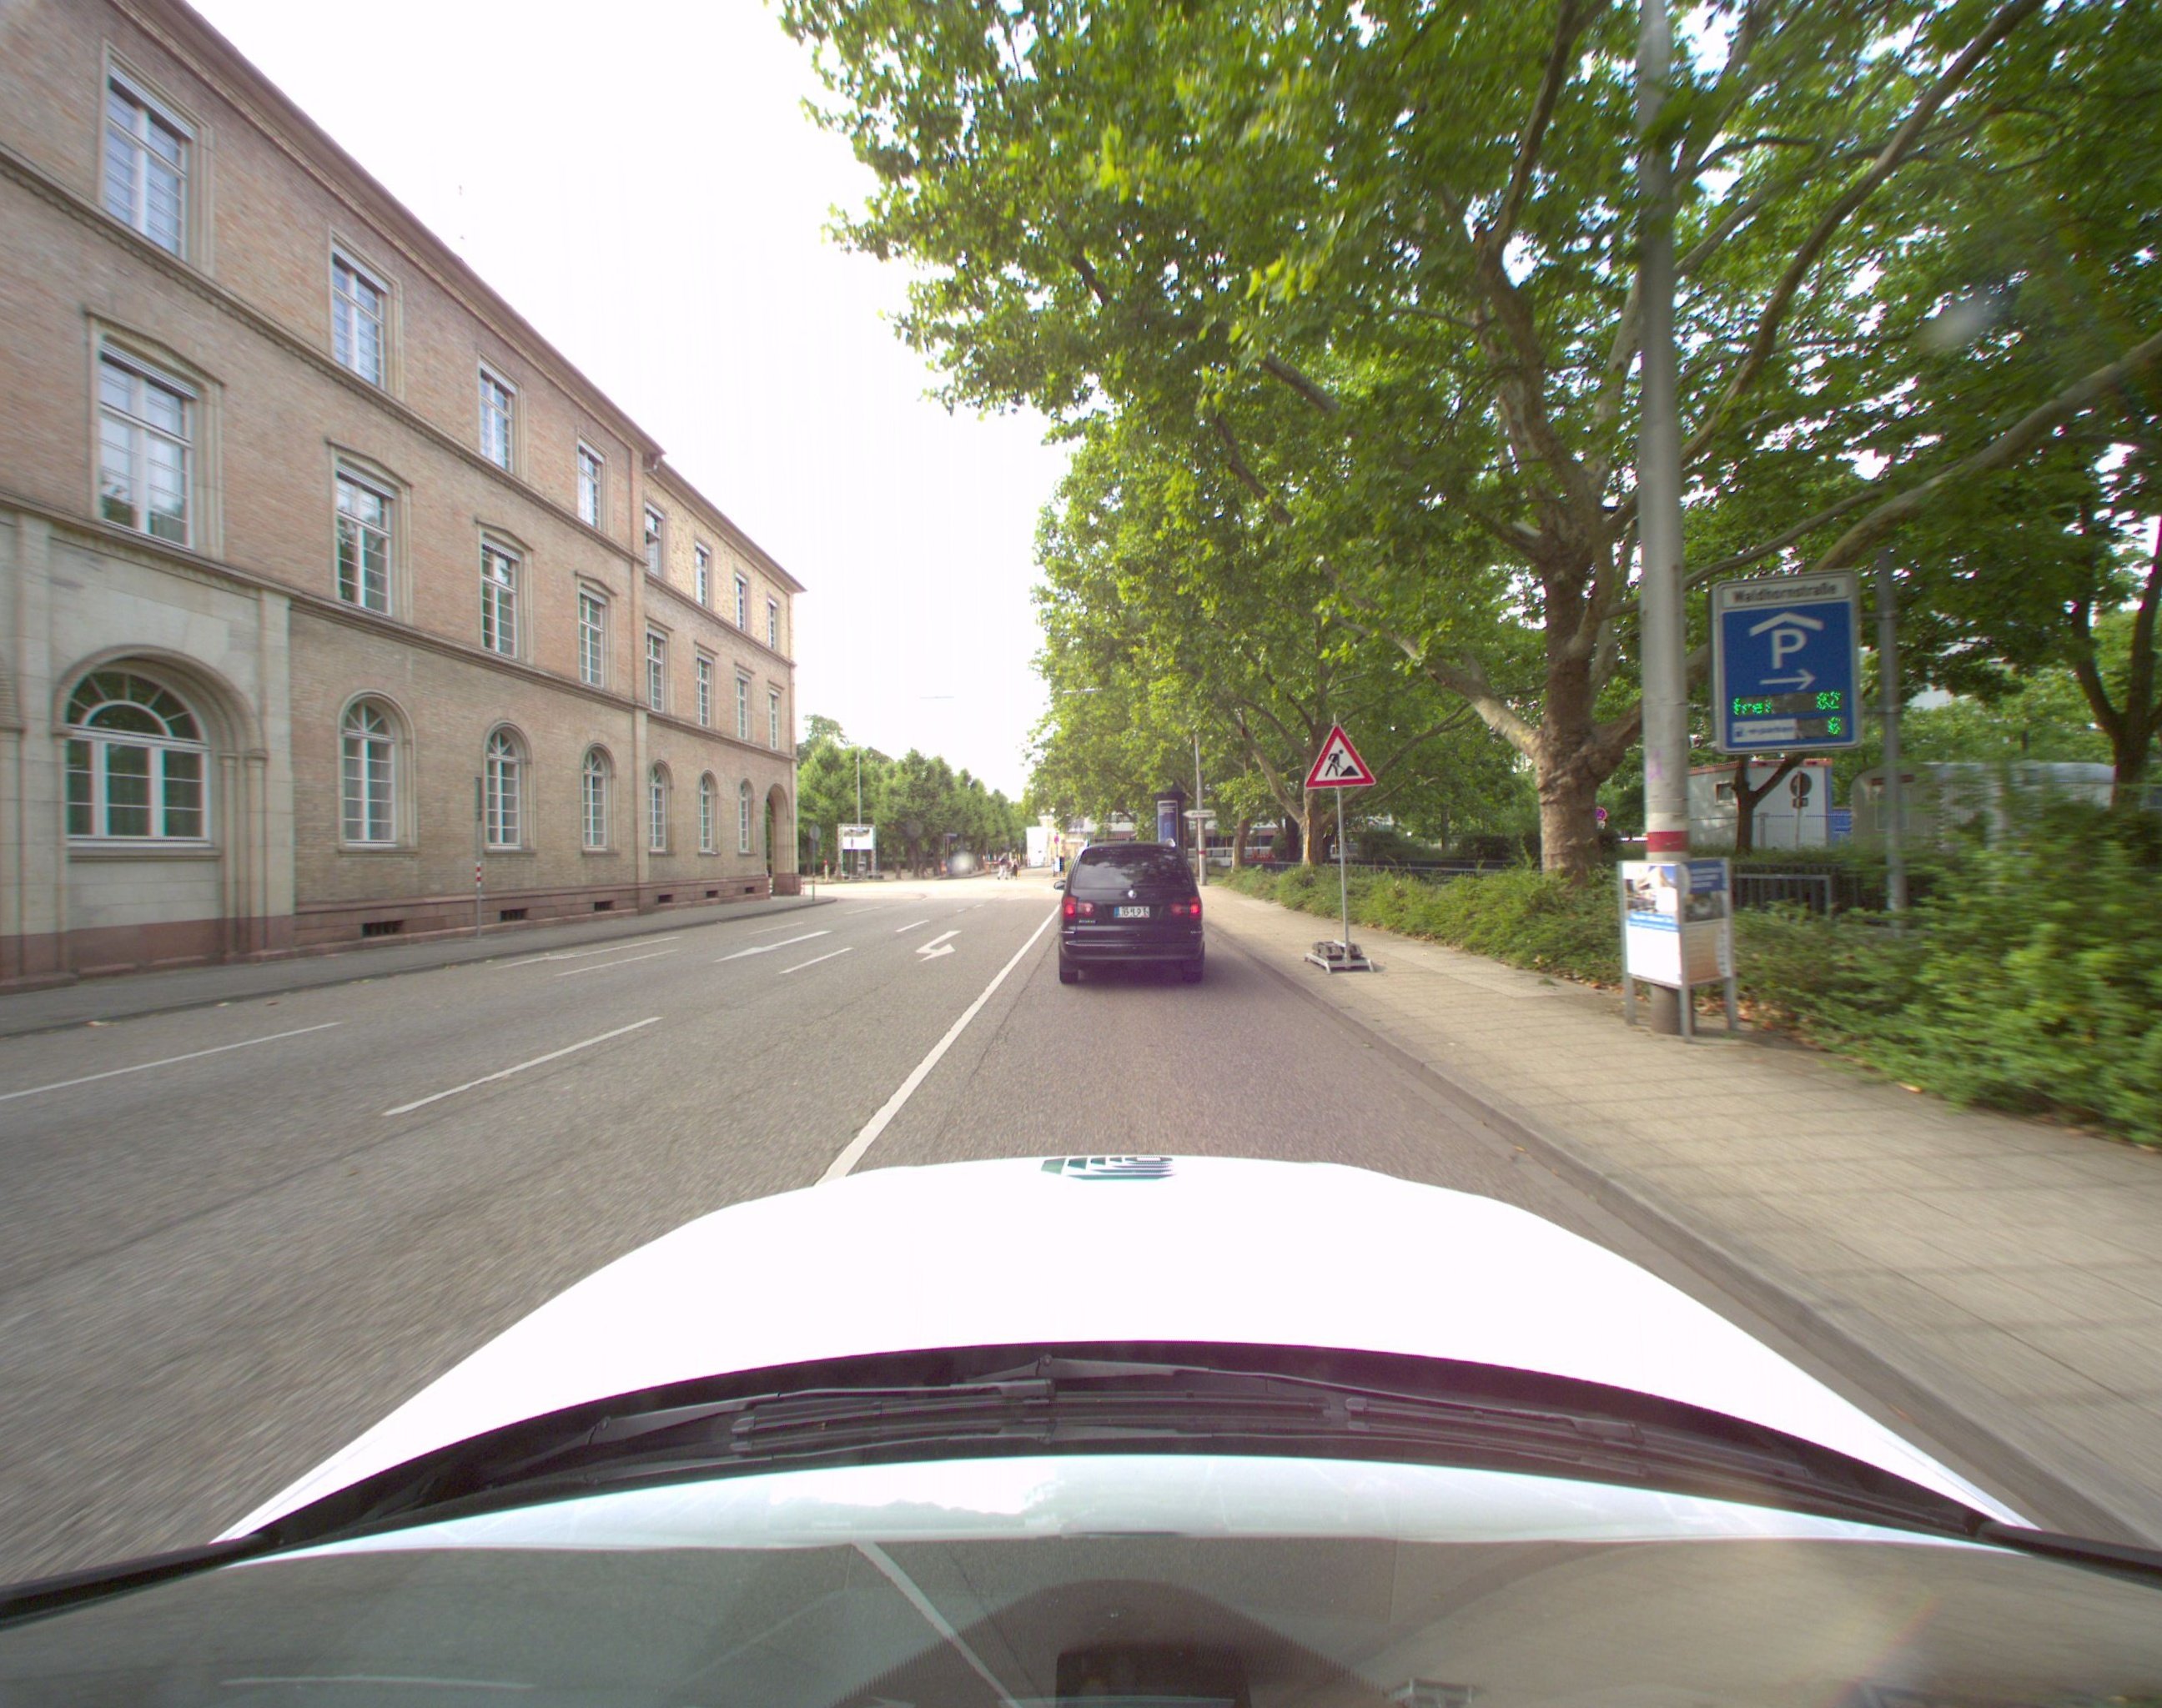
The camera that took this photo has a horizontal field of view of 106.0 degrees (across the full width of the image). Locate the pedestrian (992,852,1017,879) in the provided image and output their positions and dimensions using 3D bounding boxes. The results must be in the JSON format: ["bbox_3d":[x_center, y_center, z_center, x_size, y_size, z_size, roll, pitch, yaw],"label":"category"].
[{"bbox_3d":[-4.928,0.720,52.307,0.951,1.741,1.263,0,0,41],"label":"pedestrian"}]

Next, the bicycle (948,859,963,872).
[{"bbox_3d":[-10.869,0.990,70.401,0.954,1.110,2.565,0,0,-16],"label":"bicycle"}]

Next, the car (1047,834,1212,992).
[{"bbox_3d":[0.580,0.649,11.130,1.787,1.708,4.132,-1,0,1],"label":"car"}]

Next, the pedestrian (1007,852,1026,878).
[{"bbox_3d":[-4.115,0.711,51.976,0.887,1.641,0.858,0,0,40],"label":"pedestrian"}]
